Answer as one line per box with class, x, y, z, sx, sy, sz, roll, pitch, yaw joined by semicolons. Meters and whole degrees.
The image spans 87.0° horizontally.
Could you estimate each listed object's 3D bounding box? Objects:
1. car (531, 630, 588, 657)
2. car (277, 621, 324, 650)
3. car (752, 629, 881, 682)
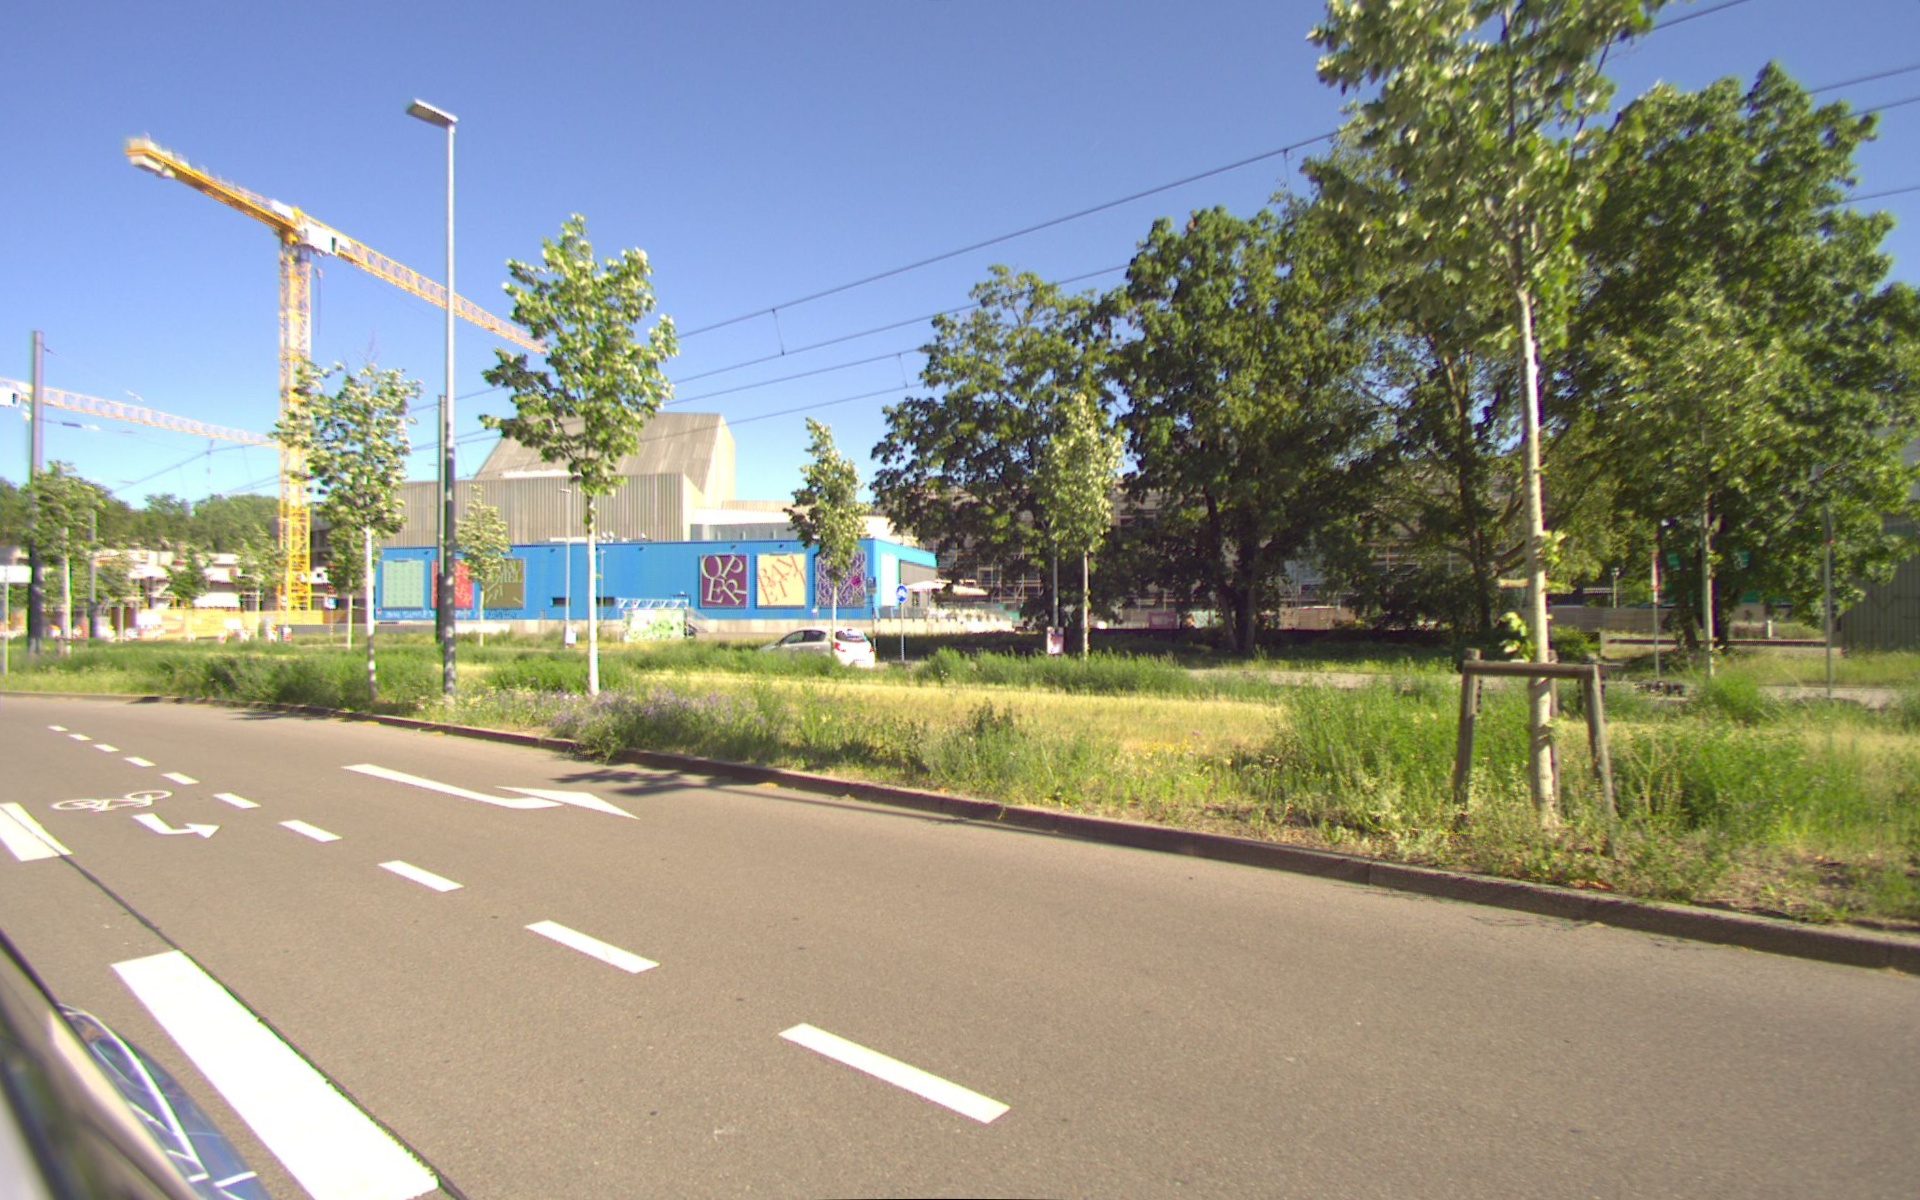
car;-25.312;2.742;63.912;3.852;1.547;1.543;-1;1;38
car;-46.007;2.447;70.595;3.999;1.811;1.779;0;1;42
car;-4.257;1.587;29.678;3.830;1.409;1.616;-2;-2;40
